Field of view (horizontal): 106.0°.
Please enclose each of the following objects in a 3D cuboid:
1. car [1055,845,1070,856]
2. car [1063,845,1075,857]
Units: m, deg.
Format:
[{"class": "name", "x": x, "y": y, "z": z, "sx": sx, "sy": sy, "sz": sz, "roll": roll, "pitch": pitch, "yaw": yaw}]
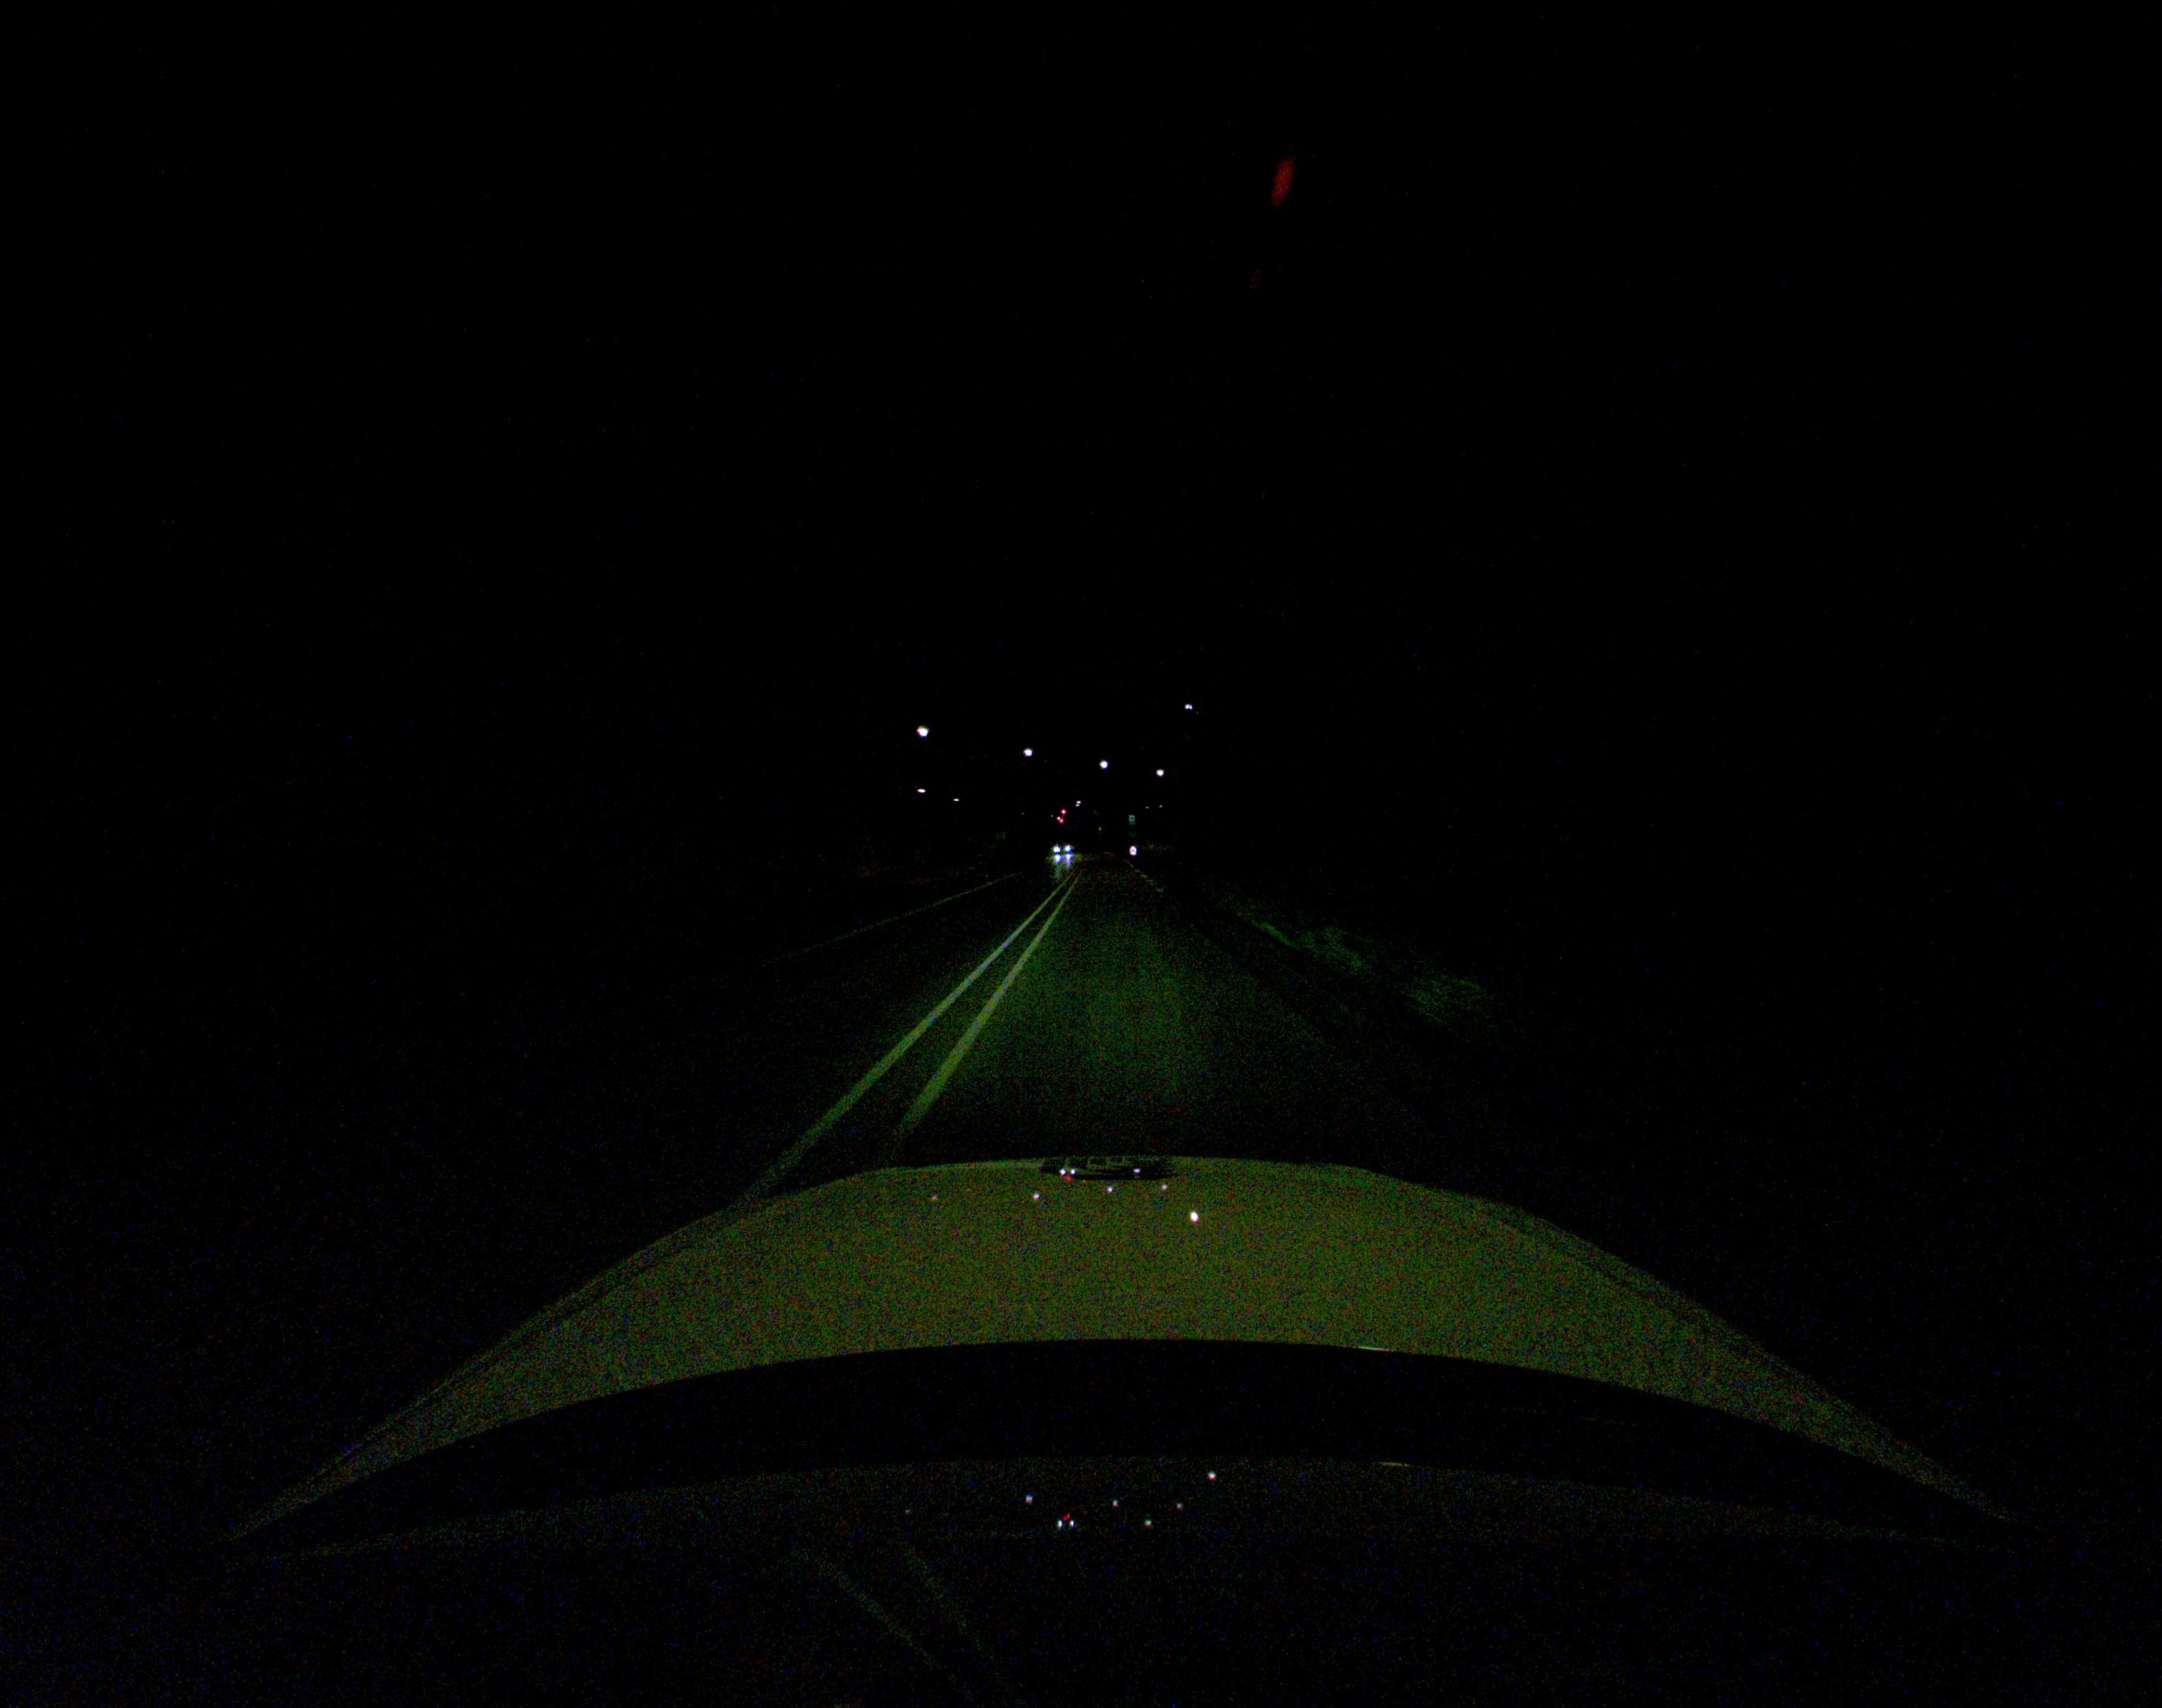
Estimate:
[{"class": "car", "x": -2.724, "y": -0.471, "z": 119.828, "sx": 1.879, "sy": 1.554, "sz": 4.210, "roll": -3, "pitch": 0, "yaw": -5}, {"class": "car", "x": -2.236, "y": -0.522, "z": 147.774, "sx": 1.916, "sy": 2.014, "sz": 4.115, "roll": 1, "pitch": -1, "yaw": -5}]
